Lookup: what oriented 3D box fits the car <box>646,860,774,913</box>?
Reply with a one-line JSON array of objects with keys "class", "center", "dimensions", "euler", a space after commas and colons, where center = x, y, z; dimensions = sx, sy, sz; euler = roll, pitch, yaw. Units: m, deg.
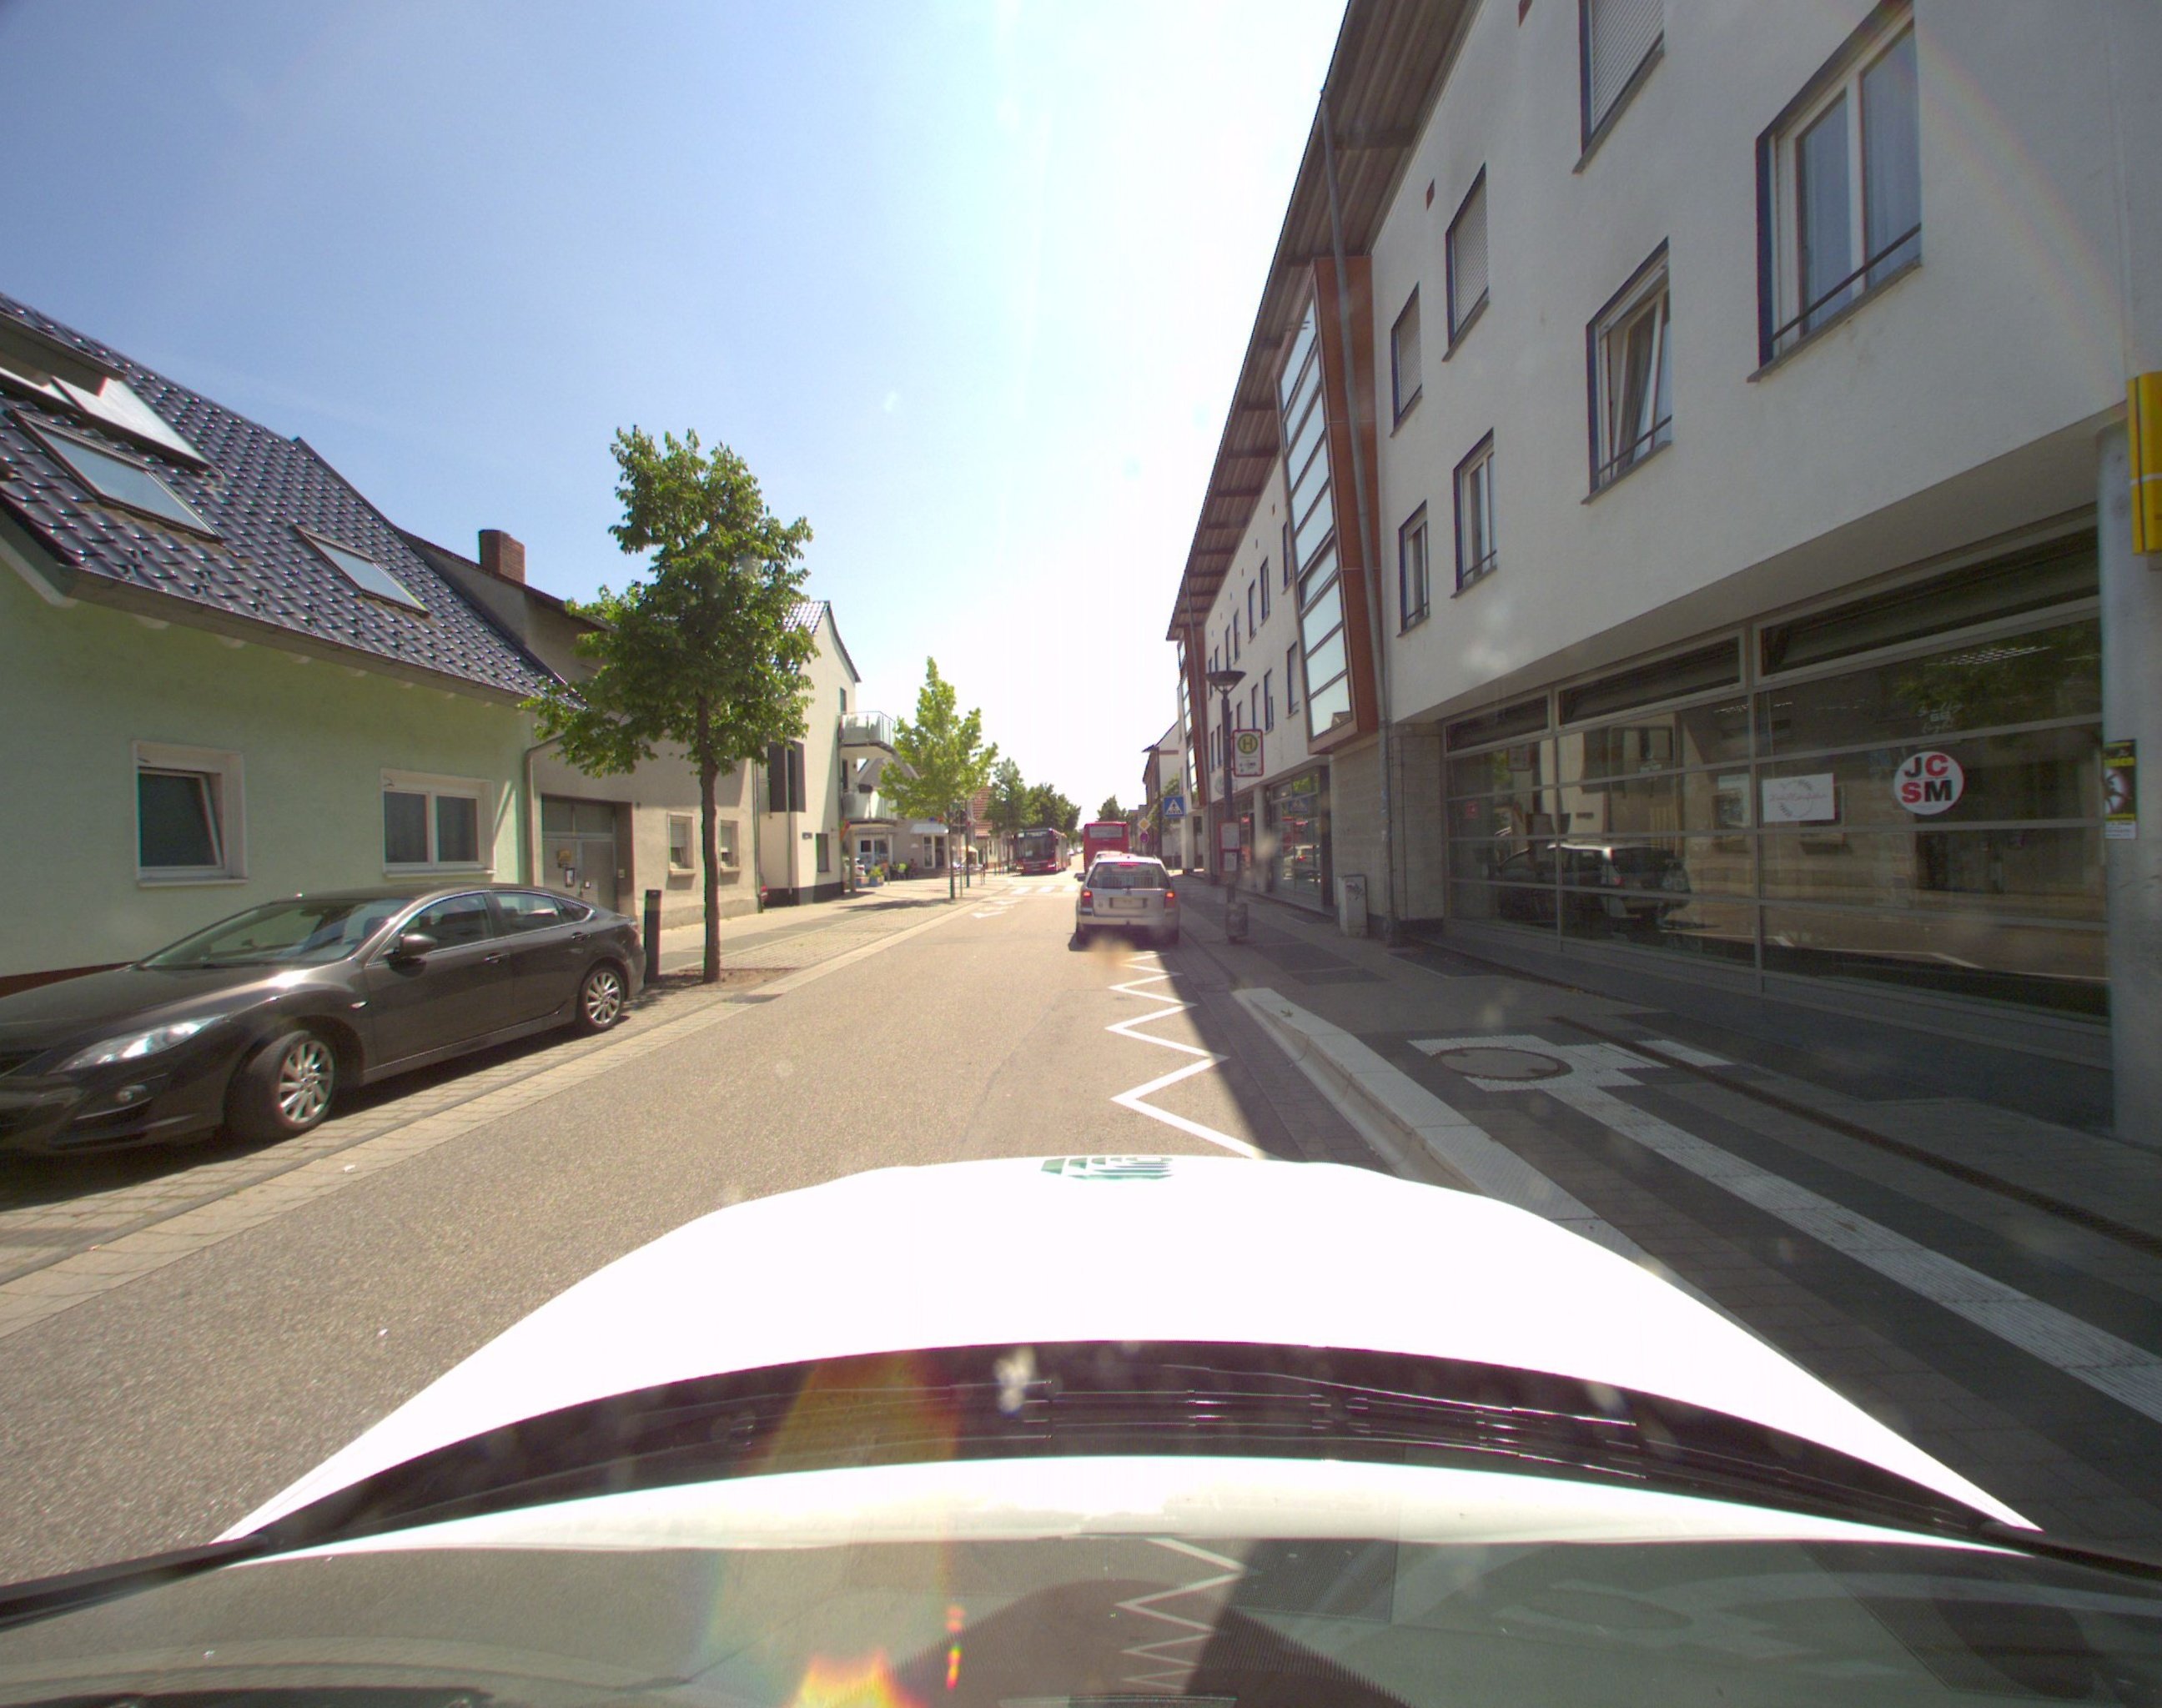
[{"class": "car", "center": [-11.234, 0.957, 24.809], "dimensions": [3.108, 1.443, 1.585], "euler": [-2, 0, -4]}]

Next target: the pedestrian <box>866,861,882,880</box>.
[{"class": "pedestrian", "center": [-12.615, 0.987, 49.597], "dimensions": [0.639, 1.116, 0.780], "euler": [1, 0, -42]}]

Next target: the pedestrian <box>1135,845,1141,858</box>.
[{"class": "pedestrian", "center": [7.486, -0.376, 106.989], "dimensions": [0.604, 1.667, 0.789], "euler": [-2, 0, 0]}]

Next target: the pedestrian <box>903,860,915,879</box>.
[{"class": "pedestrian", "center": [-10.860, 0.958, 51.480], "dimensions": [0.620, 1.179, 0.696], "euler": [-2, 0, -3]}]

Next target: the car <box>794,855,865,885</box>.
[{"class": "car", "center": [-14.812, 0.901, 48.166], "dimensions": [3.924, 1.545, 1.510], "euler": [-2, 2, -16]}]

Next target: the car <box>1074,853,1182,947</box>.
[{"class": "car", "center": [0.781, 0.713, 14.539], "dimensions": [1.671, 1.430, 3.680], "euler": [0, 0, 1]}]

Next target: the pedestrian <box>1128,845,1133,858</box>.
[{"class": "pedestrian", "center": [6.591, -0.348, 108.563], "dimensions": [0.604, 1.667, 0.789], "euler": [-2, 0, 0]}]

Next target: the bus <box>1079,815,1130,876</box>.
[{"class": "bus", "center": [1.281, -0.464, 50.499], "dimensions": [2.731, 3.298, 12.703], "euler": [-1, 0, 0]}]

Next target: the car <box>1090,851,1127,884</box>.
[{"class": "car", "center": [1.279, 0.574, 37.581], "dimensions": [1.587, 1.430, 3.681], "euler": [0, 0, 2]}]

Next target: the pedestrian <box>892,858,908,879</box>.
[{"class": "pedestrian", "center": [-11.228, 0.889, 50.460], "dimensions": [0.639, 1.289, 0.780], "euler": [1, 0, -42]}]

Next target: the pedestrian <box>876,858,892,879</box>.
[{"class": "pedestrian", "center": [-12.238, 0.908, 50.599], "dimensions": [0.639, 1.289, 0.780], "euler": [1, 0, -42]}]

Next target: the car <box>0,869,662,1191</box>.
[{"class": "car", "center": [-5.300, 0.911, 6.226], "dimensions": [1.654, 1.437, 4.541], "euler": [-2, 0, 2]}]

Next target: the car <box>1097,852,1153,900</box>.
[{"class": "car", "center": [1.380, 0.650, 26.534], "dimensions": [1.671, 1.430, 3.680], "euler": [-1, 0, 1]}]

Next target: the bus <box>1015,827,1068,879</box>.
[{"class": "bus", "center": [-2.597, -0.114, 59.722], "dimensions": [2.659, 3.123, 17.808], "euler": [-3, 0, 1]}]
